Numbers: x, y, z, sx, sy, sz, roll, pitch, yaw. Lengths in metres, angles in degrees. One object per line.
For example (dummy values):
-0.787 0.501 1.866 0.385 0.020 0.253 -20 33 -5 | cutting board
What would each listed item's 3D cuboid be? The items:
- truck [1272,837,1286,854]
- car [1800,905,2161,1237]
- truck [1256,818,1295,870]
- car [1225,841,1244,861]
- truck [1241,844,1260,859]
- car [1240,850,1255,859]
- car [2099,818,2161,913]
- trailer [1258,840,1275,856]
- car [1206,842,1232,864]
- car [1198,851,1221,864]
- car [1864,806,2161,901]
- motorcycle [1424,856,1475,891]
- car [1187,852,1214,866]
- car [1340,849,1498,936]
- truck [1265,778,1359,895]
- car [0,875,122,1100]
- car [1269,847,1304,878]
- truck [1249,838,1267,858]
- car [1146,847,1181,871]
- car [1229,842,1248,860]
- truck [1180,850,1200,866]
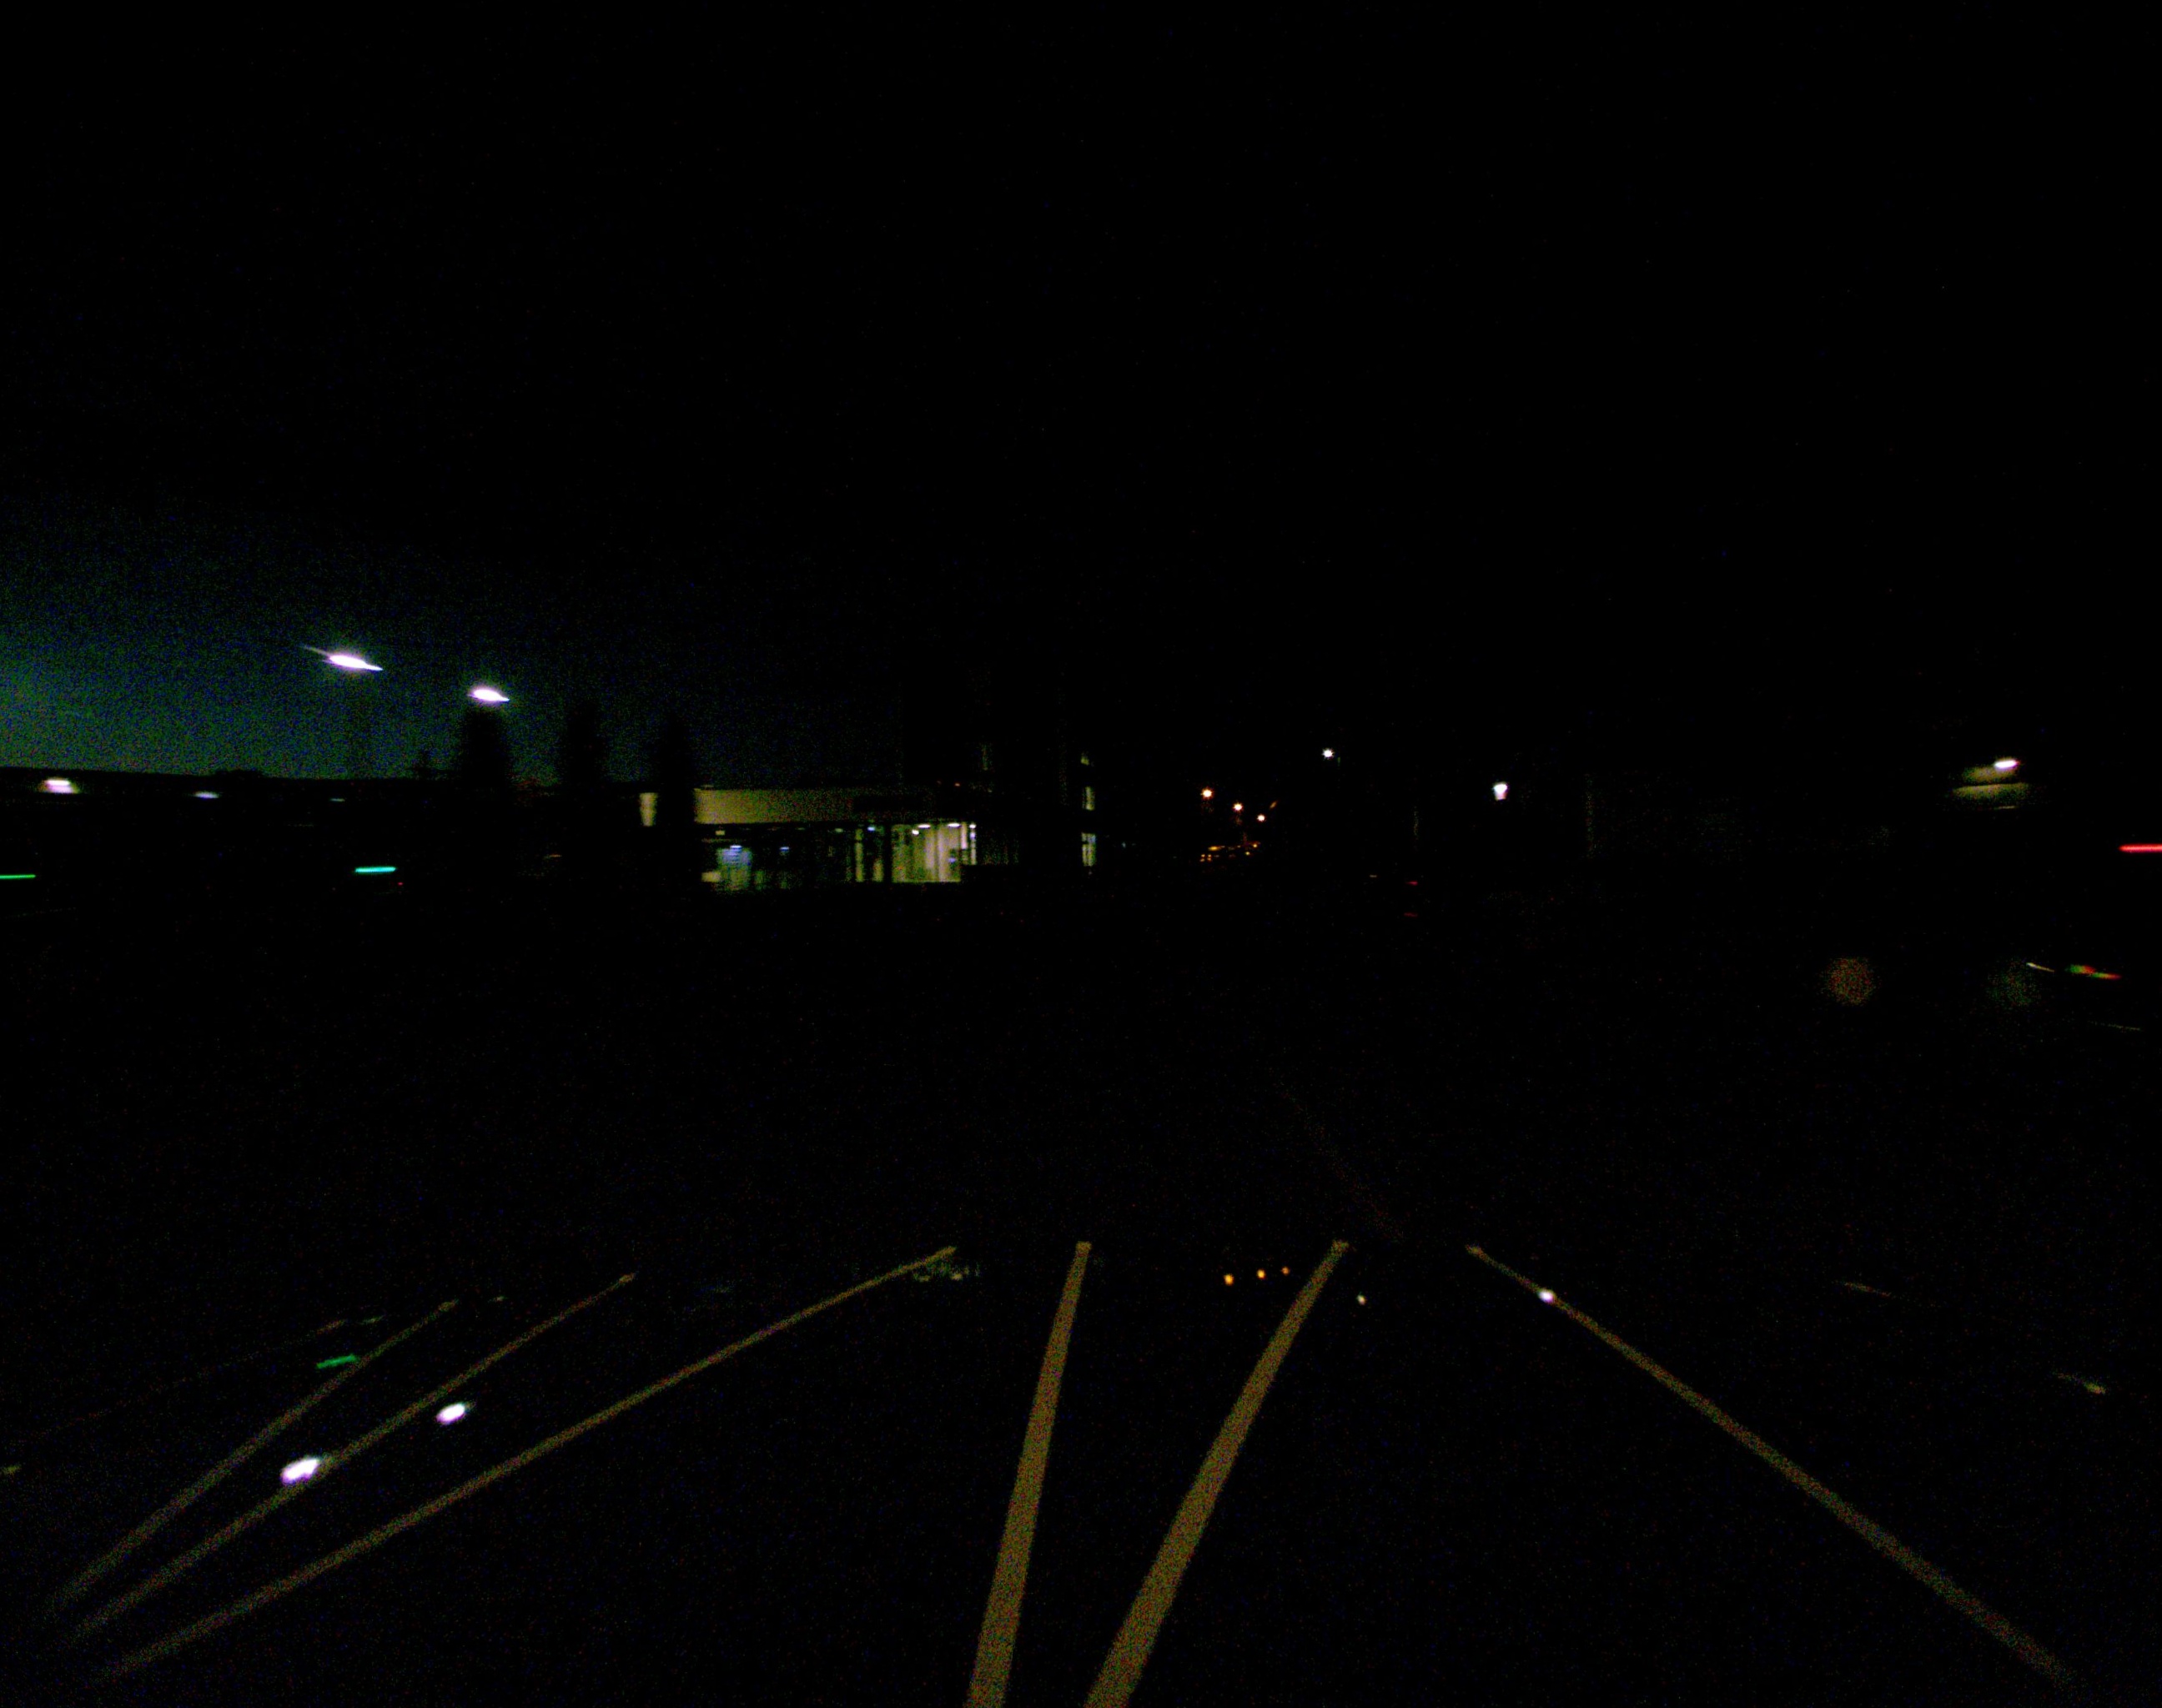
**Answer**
51.557 -2.148 198.047 2.794 3.946 9.834 -3 -1 18 | truck
5.774 1.040 2.978 1.819 1.363 4.361 0 0 1 | car
16.635 -0.842 64.492 2.750 4.010 9.571 -2 0 17 | truck
22.042 -0.401 109.016 2.131 2.555 5.916 -4 -1 16 | car
30.561 -0.540 136.862 2.404 2.579 6.606 -2 0 20 | truck
28.419 0.081 129.615 1.832 1.399 4.915 -4 -1 18 | car
18.589 0.113 11.273 4.415 1.444 1.828 -2 0 2 | car
42.087 -1.447 172.492 2.881 3.504 8.294 -1 0 19 | trailer
17.414 -0.146 95.963 1.996 2.510 5.918 -4 -1 21 | car
15.227 0.400 89.757 1.771 1.404 4.557 -1 0 21 | car
17.216 -0.031 13.577 4.415 1.474 1.892 -2 0 2 | car
12.994 0.680 26.779 1.694 1.095 0.530 -5 2 -20 | motorcycle
13.133 0.512 83.428 1.948 1.480 5.017 -1 0 21 | car
7.073 0.715 16.428 1.870 1.583 4.497 -2 0 7 | car
9.385 -0.643 31.861 2.777 4.096 9.348 -1 0 11 | truck
-10.154 0.969 5.292 4.338 1.636 1.892 1 0 -3 | car
12.516 0.481 46.450 1.946 1.707 5.203 -1 0 14 | car
34.108 -1.204 146.141 2.769 3.741 5.235 -3 0 19 | truck
7.137 0.403 65.135 1.996 2.002 4.918 -1 0 18 | car
24.004 -0.476 115.923 1.996 2.555 6.022 -4 -1 18 | car
11.374 0.407 78.979 1.372 1.635 3.817 -1 0 17 | truck
